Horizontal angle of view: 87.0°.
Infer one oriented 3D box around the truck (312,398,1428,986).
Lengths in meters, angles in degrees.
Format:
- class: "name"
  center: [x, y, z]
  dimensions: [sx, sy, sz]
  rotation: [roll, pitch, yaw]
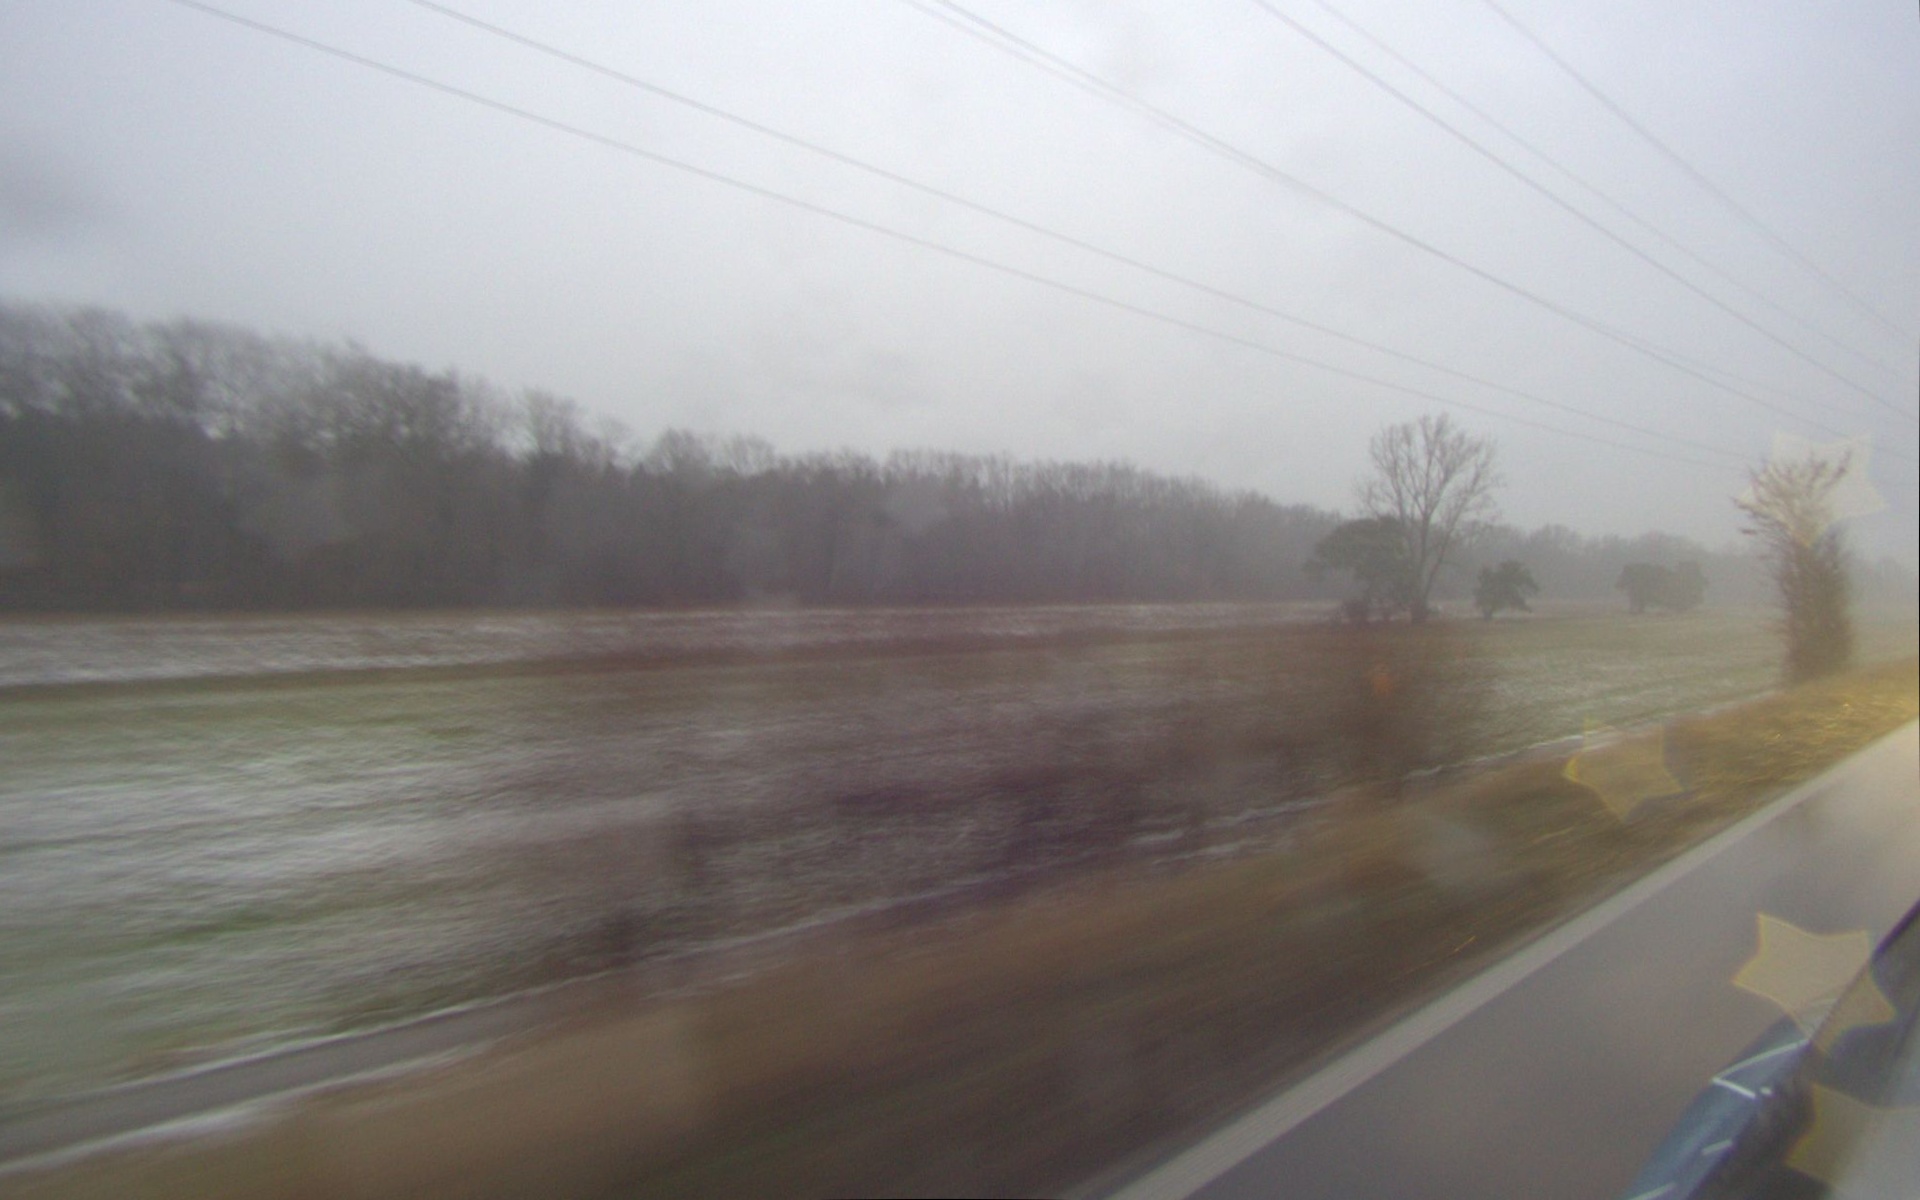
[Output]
- class: "truck"
  center: [0.671, 0.367, 9.021]
  dimensions: [10.622, 2.603, 2.507]
  rotation: [0, 0, -43]
